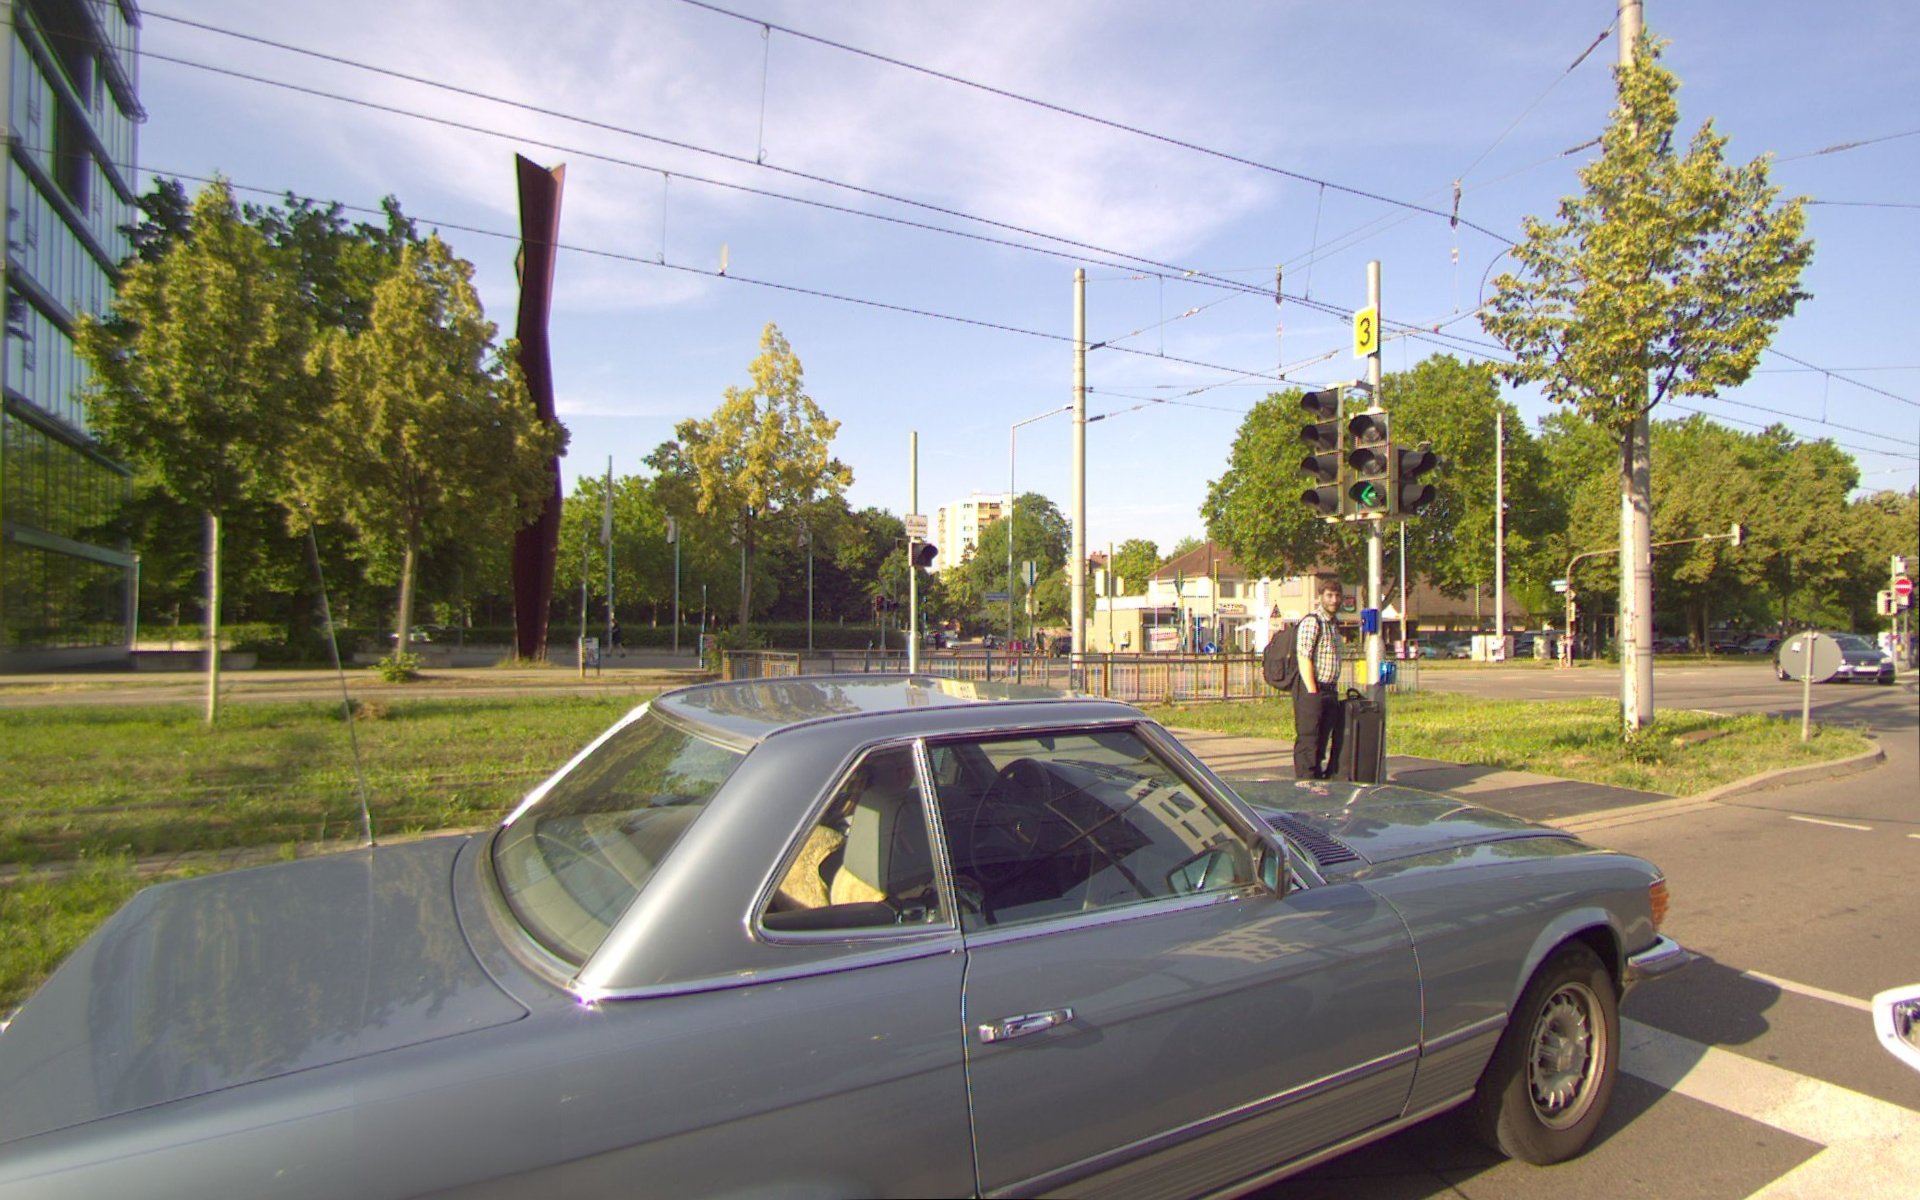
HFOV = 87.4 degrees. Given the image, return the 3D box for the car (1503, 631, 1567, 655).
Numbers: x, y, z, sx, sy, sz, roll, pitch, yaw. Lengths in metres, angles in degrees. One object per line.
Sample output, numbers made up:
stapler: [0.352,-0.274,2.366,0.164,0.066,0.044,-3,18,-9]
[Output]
car: [38.821,2.929,67.825,3.945,1.580,1.876,1,-2,-25]

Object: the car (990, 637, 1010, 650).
car: [4.666,5.099,117.657,1.667,1.491,3.941,0,-2,-8]

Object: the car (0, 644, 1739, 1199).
car: [0.106,0.860,2.740,4.349,1.348,1.755,1,0,-31]

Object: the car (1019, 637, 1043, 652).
car: [7.053,4.447,100.315,1.667,1.491,3.941,0,-2,-8]

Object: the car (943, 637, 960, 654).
car: [-0.988,5.125,113.629,1.961,1.806,4.000,0,-2,-1]

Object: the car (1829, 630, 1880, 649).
car: [76.689,3.353,86.093,3.945,1.580,1.876,1,-2,-25]

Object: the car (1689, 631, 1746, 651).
car: [58.620,3.172,77.729,3.945,1.580,1.876,1,-2,-25]

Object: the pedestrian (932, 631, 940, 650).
pedestrian: [-2.095,3.556,87.365,0.654,1.654,0.664,0,-1,-2]

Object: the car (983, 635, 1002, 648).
car: [3.960,5.057,123.446,1.667,1.491,3.941,0,-2,-8]

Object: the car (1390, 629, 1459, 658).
car: [29.210,2.714,63.135,3.945,1.773,1.876,1,-2,-25]

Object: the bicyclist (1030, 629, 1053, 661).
bicyclist: [3.863,2.147,47.735,0.836,1.512,0.697,-1,-2,38]

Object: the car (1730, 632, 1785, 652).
car: [63.605,3.320,80.087,3.945,1.580,1.876,1,-2,-25]

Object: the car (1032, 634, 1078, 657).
car: [7.453,3.553,79.243,1.971,1.750,3.979,1,-2,-22]

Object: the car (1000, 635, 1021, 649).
car: [5.580,4.694,111.828,1.667,1.491,3.941,0,-2,-8]

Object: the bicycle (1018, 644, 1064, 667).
bicycle: [3.848,2.627,47.731,2.168,1.055,0.697,-1,-2,38]

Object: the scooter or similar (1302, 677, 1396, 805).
scooter or similar: [3.082,1.098,7.971,0.424,0.919,0.546,1,0,-29]

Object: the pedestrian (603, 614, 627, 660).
pedestrian: [-16.270,1.750,47.382,0.864,2.135,0.724,-1,-3,-1]

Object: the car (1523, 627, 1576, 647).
car: [47.873,3.042,81.576,3.945,1.580,1.876,1,-2,-25]

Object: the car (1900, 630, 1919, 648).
car: [87.802,3.580,91.470,3.945,1.580,1.876,1,-2,-25]

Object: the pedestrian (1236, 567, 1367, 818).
pedestrian: [2.617,0.673,7.720,0.628,1.816,0.696,1,0,-29]

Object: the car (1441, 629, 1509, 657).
car: [33.434,2.766,65.210,3.945,1.773,1.876,1,-2,-25]

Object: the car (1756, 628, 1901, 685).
car: [25.687,1.629,29.898,1.701,1.481,4.574,-2,-2,20]
